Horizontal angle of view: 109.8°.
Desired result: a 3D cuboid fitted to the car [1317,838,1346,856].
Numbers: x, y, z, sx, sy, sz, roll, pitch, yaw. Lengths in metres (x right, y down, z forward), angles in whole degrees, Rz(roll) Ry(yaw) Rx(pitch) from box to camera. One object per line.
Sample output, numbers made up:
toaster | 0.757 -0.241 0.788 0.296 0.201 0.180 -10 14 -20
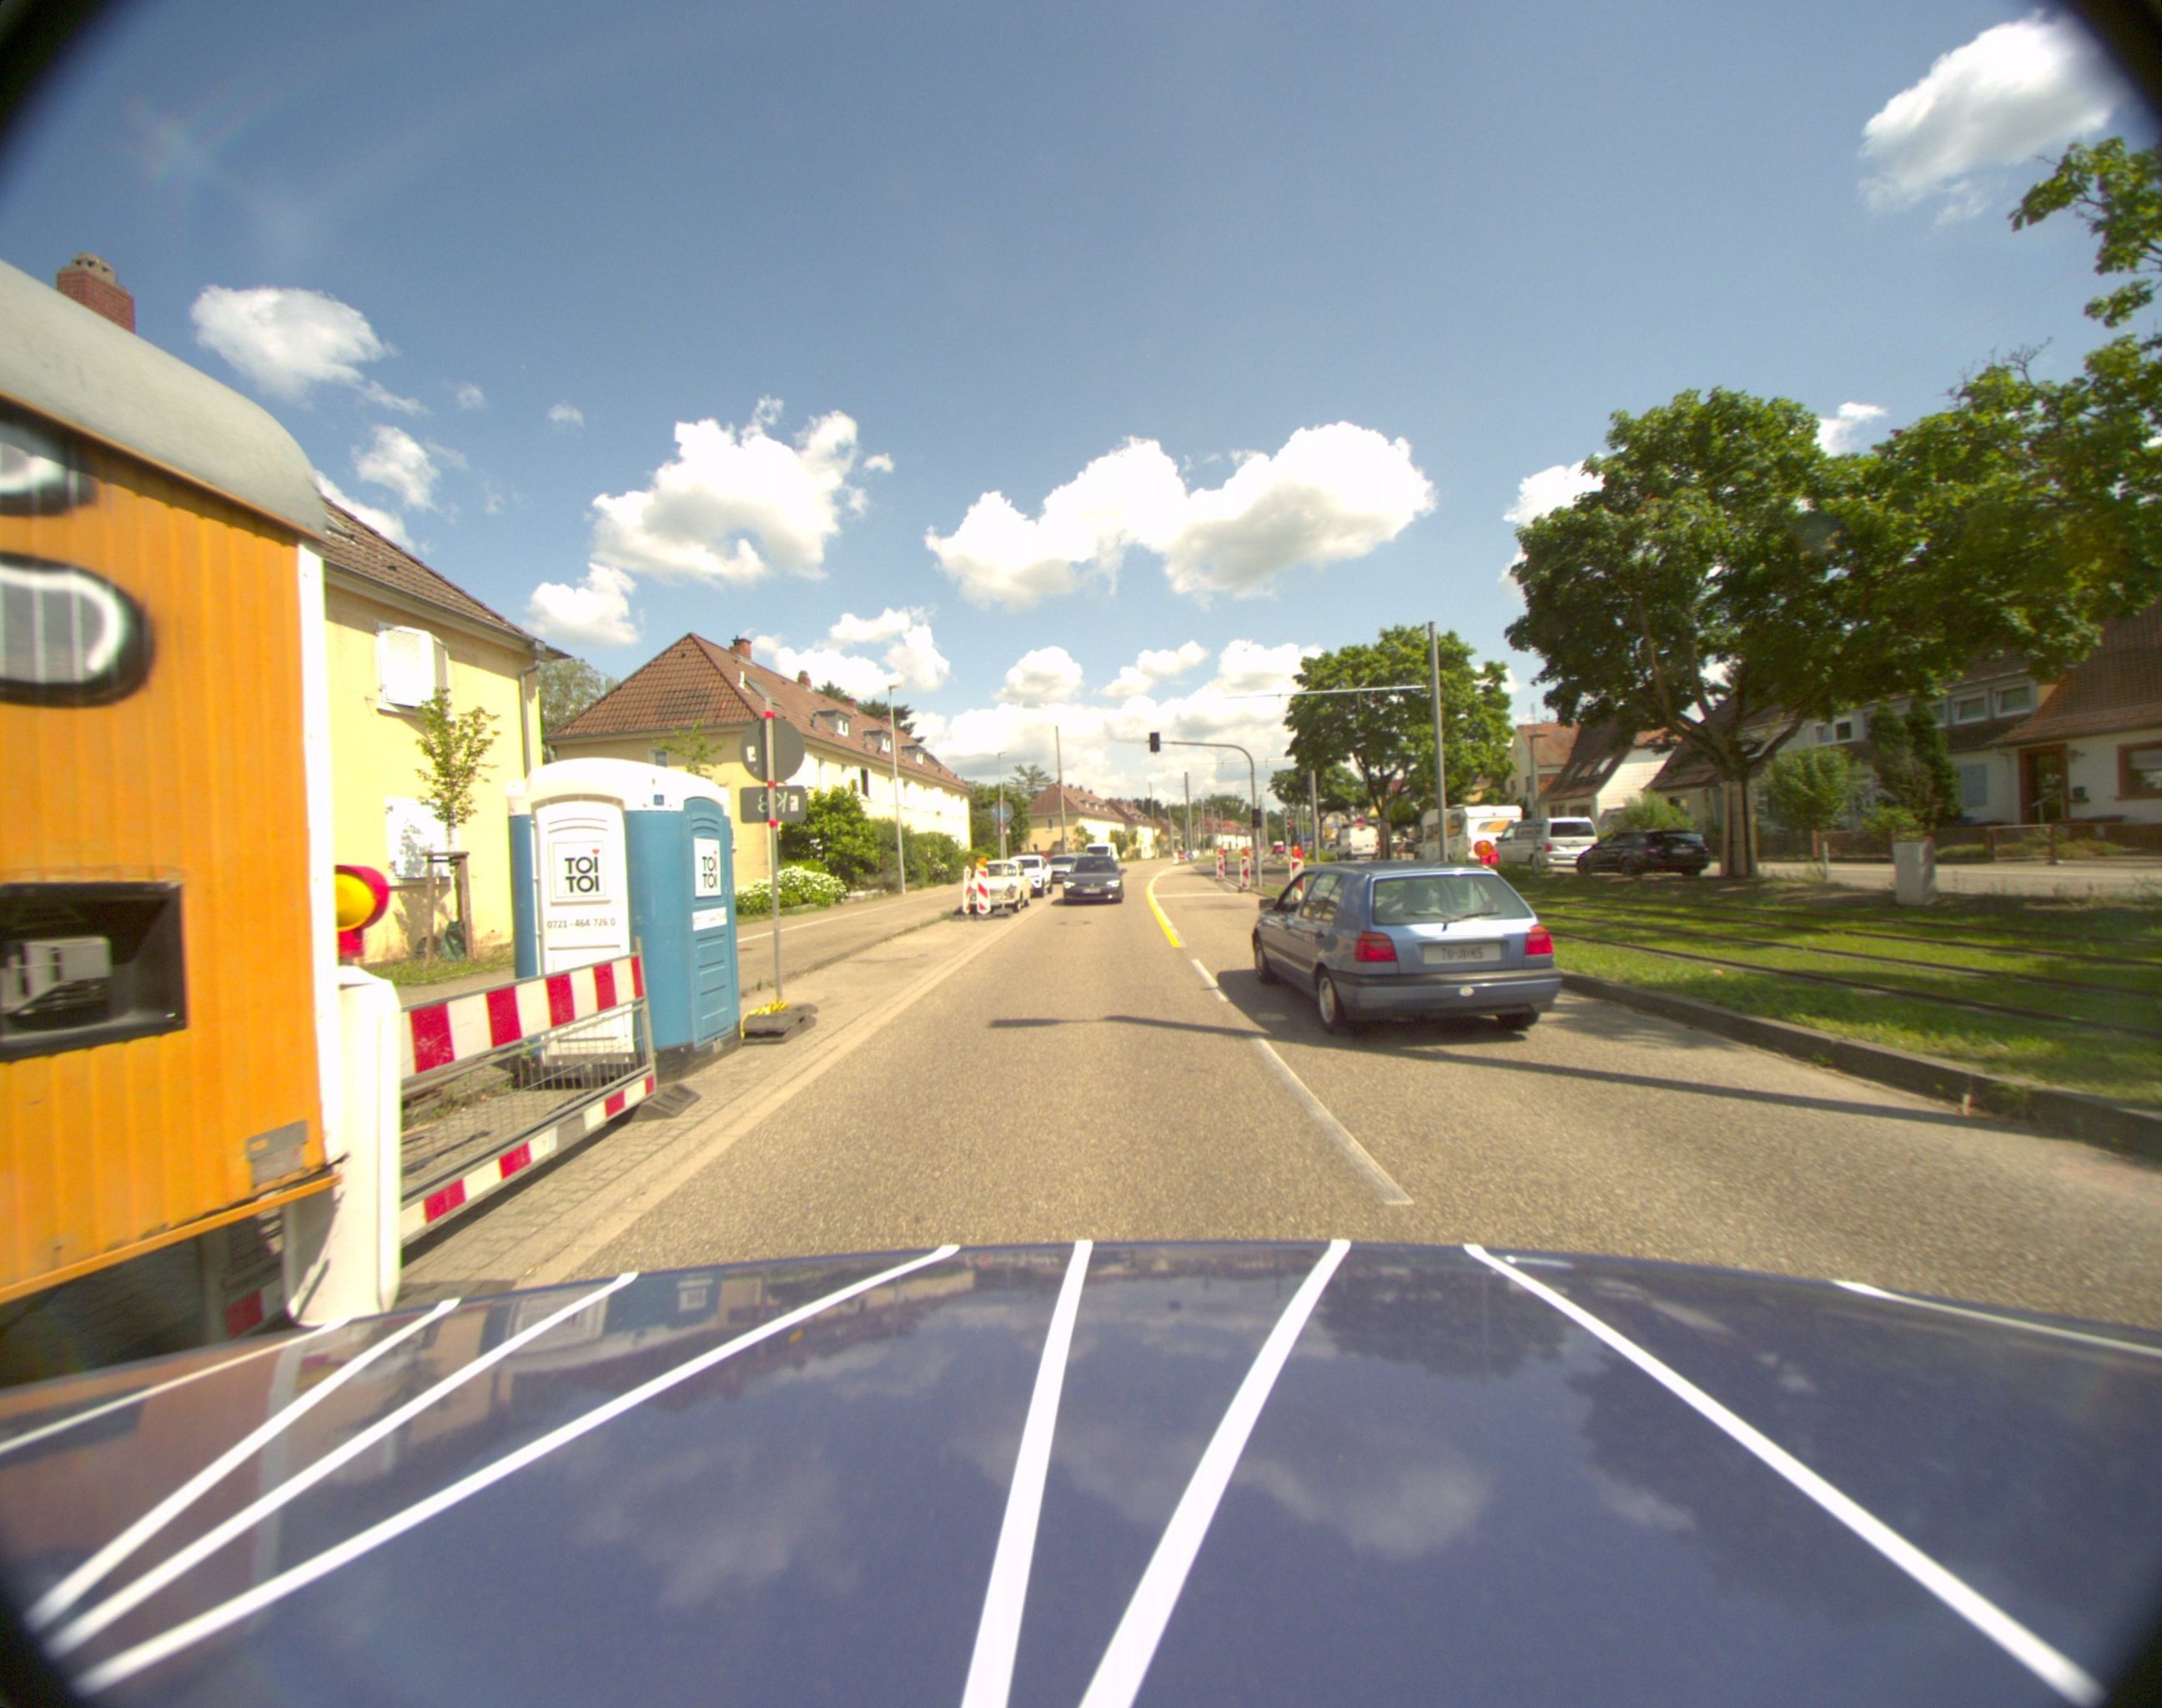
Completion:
car | 21.802 -0.589 66.287 1.695 1.456 4.758 -3 0 10

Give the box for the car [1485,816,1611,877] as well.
car | 17.392 -0.269 28.655 1.998 2.002 4.905 -3 0 5

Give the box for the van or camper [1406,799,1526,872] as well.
van or camper | 17.751 -0.799 35.606 2.381 2.953 7.298 -2 0 5

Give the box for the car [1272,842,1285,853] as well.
car | 30.408 -0.956 116.910 1.728 1.553 4.546 -3 0 15

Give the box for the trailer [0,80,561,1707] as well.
trailer | -3.305 0.212 0.179 2.697 3.208 5.081 -3 0 0

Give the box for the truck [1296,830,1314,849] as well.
truck | 41.016 -2.677 139.058 2.839 3.136 7.942 -3 0 17

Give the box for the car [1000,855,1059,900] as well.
car | -1.826 0.829 28.144 1.531 1.472 3.810 -2 1 5

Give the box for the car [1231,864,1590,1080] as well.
car | 2.701 0.853 7.301 1.669 1.441 3.959 0 0 -1

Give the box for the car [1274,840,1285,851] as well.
car | 35.786 -1.577 137.278 1.728 1.843 4.546 -3 0 14

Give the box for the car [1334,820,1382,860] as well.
car | 20.115 -1.016 55.415 2.157 2.653 4.918 -3 1 8

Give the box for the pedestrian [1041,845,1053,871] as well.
pedestrian | -2.679 0.285 60.153 0.774 2.002 0.762 -3 1 7

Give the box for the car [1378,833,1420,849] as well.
car | 35.739 -1.448 85.460 3.958 1.535 1.761 -3 1 6

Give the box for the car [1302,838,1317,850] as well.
car | 31.577 -1.337 104.866 1.727 1.518 4.776 -3 0 20

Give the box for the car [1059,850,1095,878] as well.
car | -0.191 0.576 46.044 1.631 1.541 3.811 -2 0 7

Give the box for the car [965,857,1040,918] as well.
car | -2.166 0.887 21.897 1.466 1.493 4.110 -2 0 3

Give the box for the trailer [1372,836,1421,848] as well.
trailer | 36.527 -1.364 87.992 4.929 1.118 1.962 -3 0 10

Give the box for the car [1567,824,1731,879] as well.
car | 16.685 -0.084 22.689 1.855 1.379 4.811 -3 0 9

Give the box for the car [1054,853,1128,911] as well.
car | 0.409 0.775 23.222 1.741 1.513 4.703 -1 1 7

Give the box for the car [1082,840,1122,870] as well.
car | 1.771 0.047 60.897 2.280 2.170 6.372 -2 0 10

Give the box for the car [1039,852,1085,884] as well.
car | -0.906 0.672 38.787 1.753 1.489 4.387 -2 0 6
